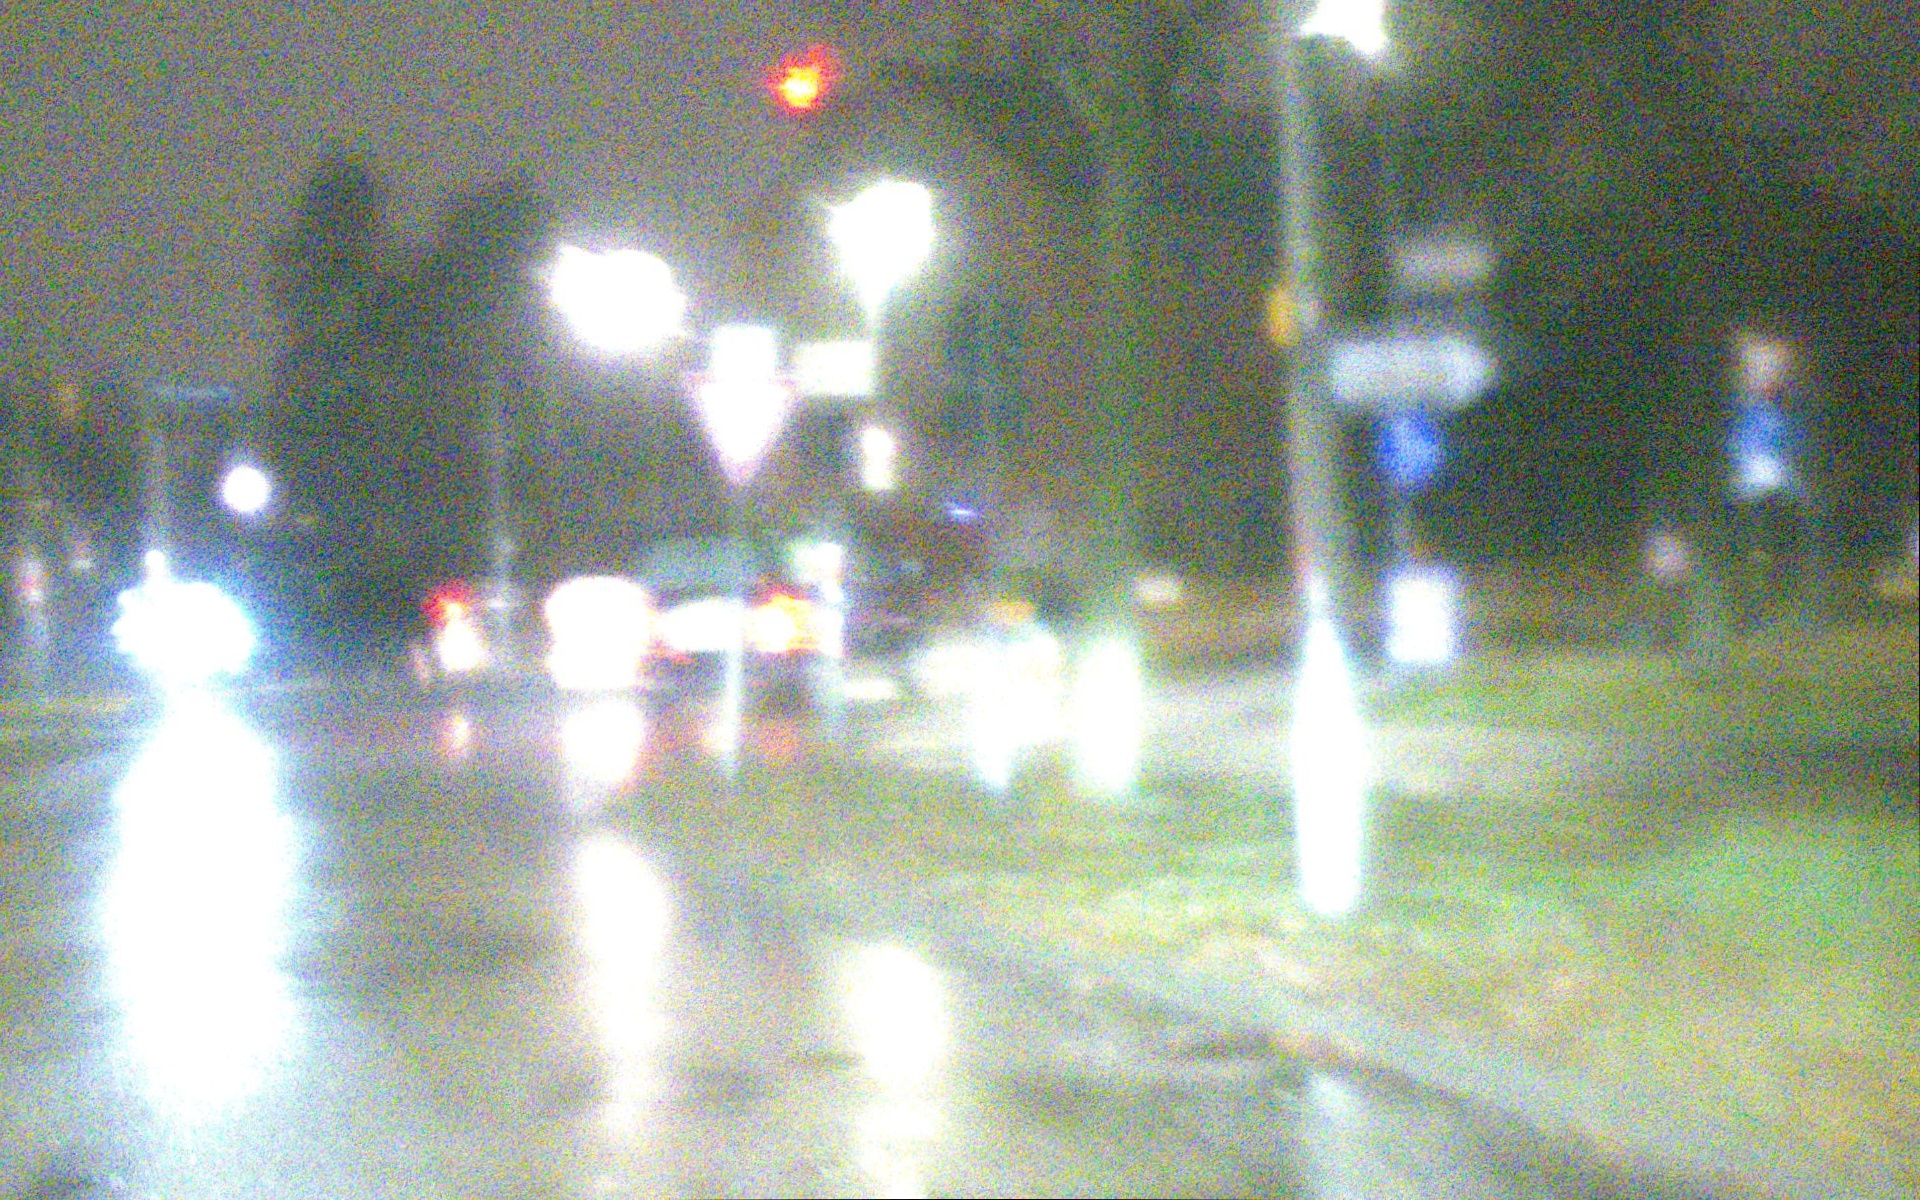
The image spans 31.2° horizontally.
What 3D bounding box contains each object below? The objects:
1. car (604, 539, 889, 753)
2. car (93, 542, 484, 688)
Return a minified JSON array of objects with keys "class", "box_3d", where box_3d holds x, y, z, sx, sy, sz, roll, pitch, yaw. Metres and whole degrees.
[{"class":"car","box_3d":[-2.122,0.415,35.581,1.994,2.006,4.556,0,2,9]},{"class":"car","box_3d":[-8.728,0.152,44.897,4.606,1.730,1.999,-2,2,-40]}]
